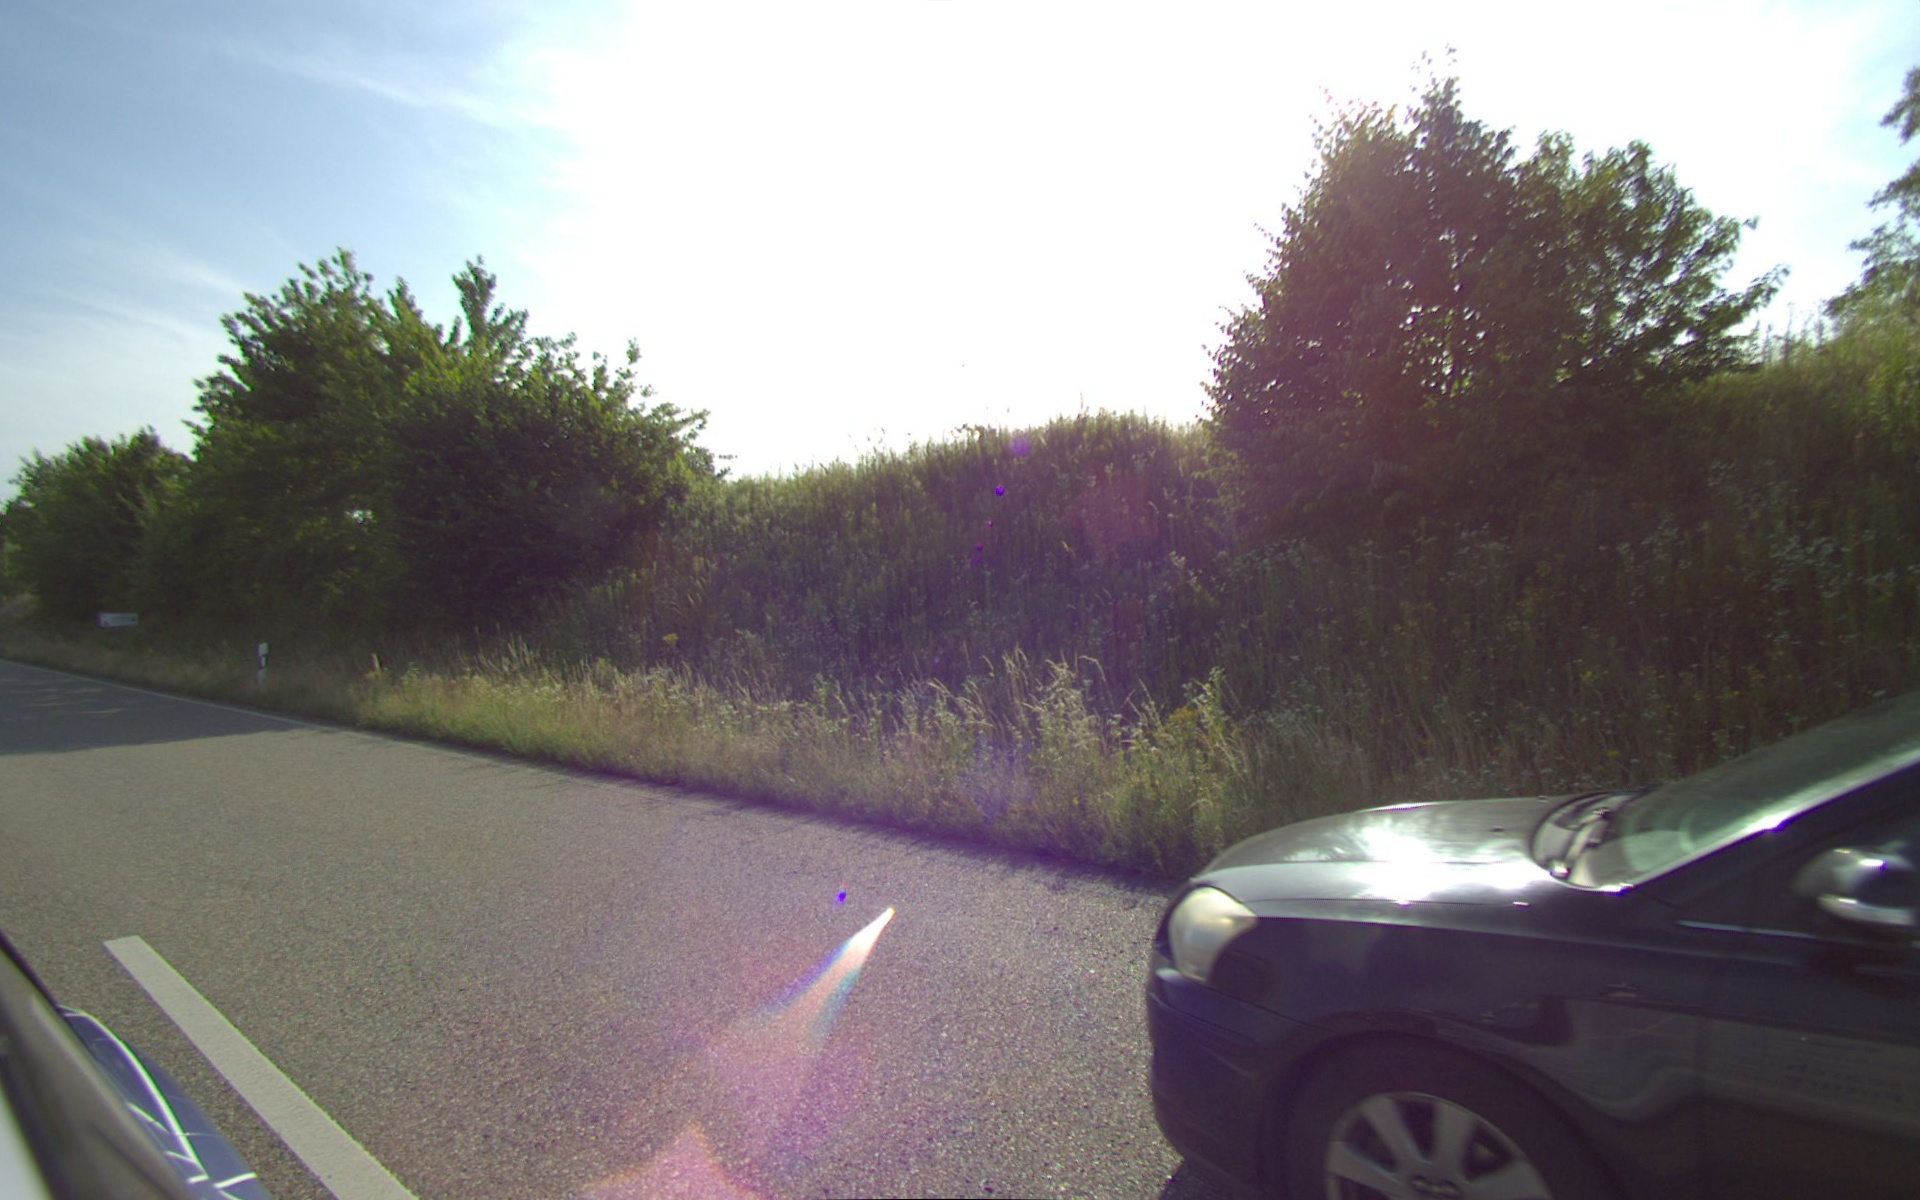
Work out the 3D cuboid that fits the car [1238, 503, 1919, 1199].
[{"bbox_3d":[2.779,0.629,1.380,4.309,1.558,1.725,-1,-2,41],"label":"car"}]
